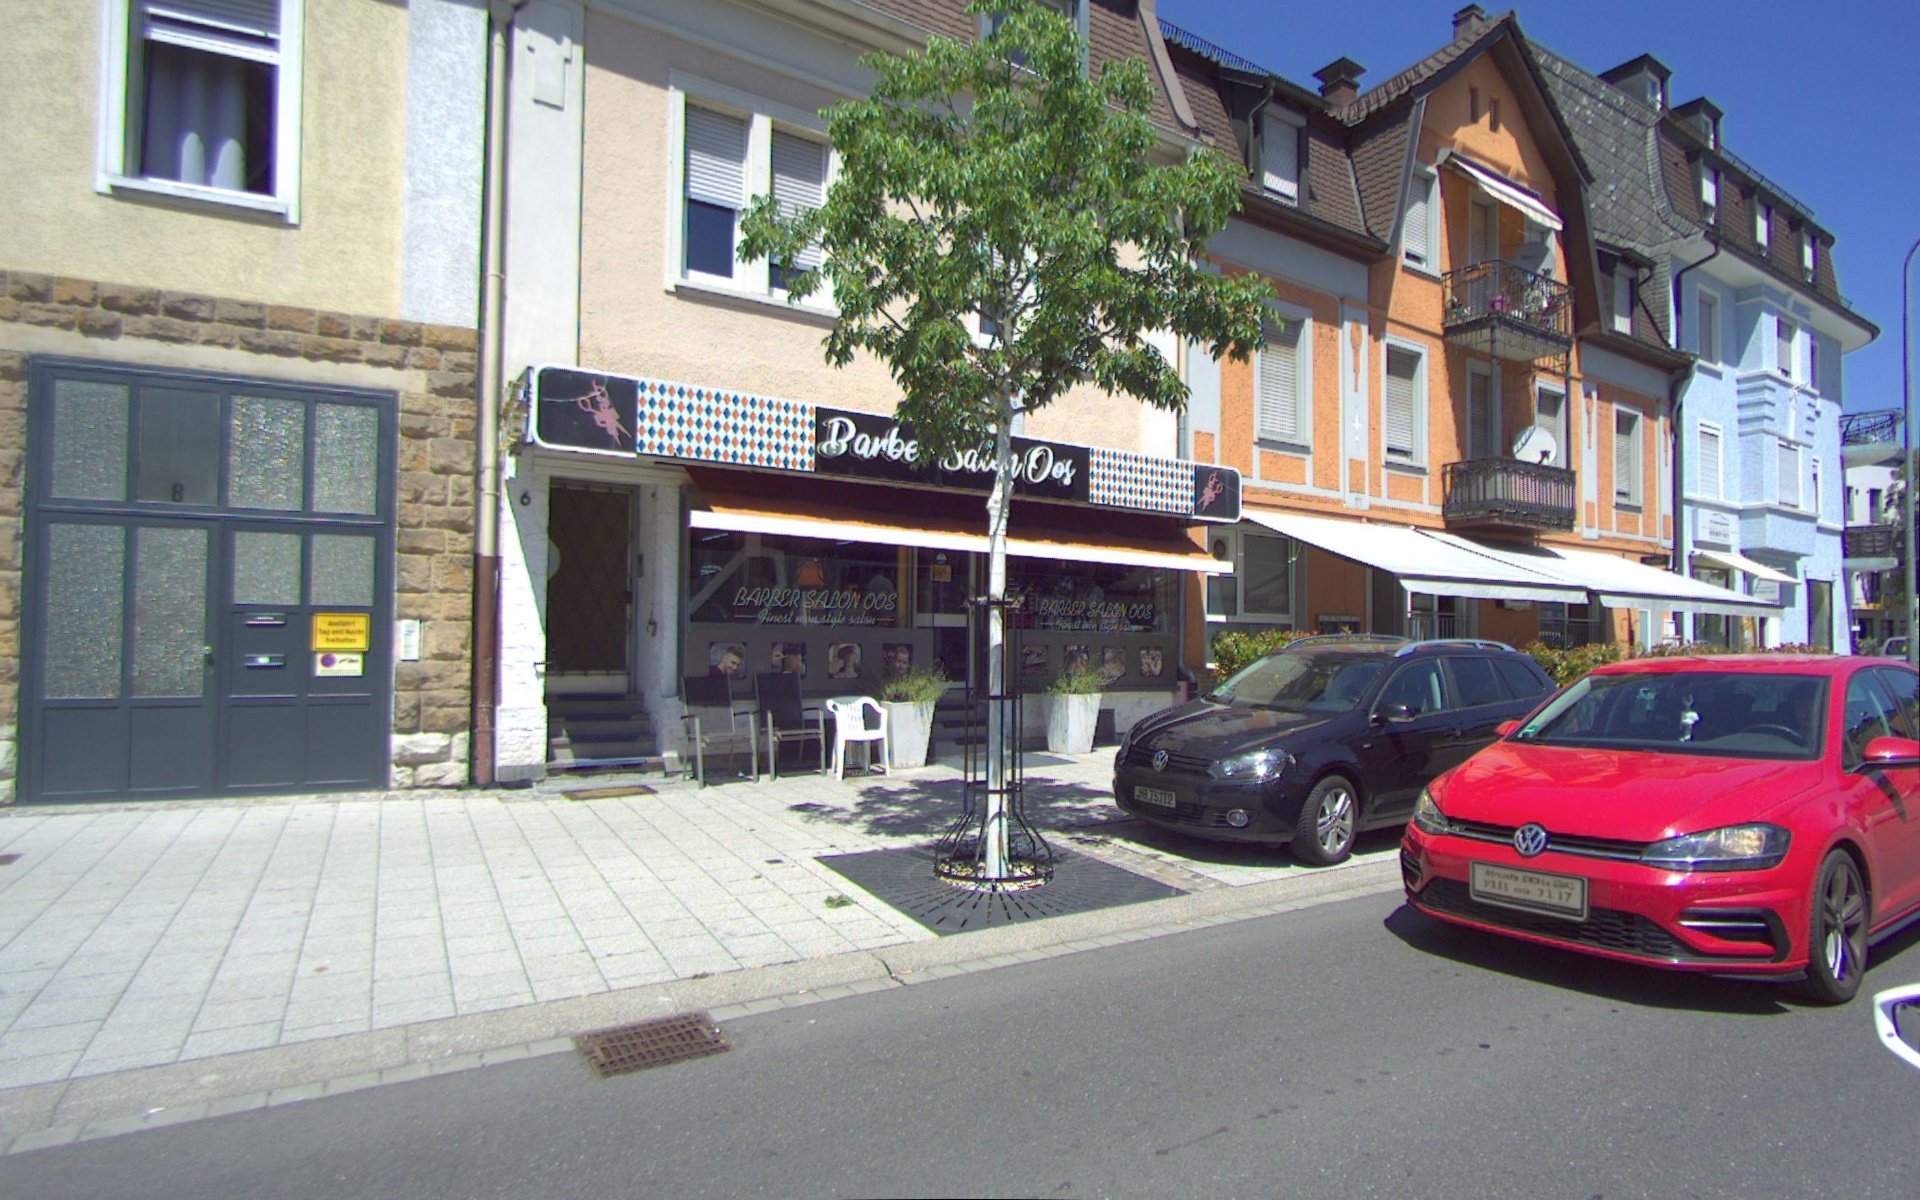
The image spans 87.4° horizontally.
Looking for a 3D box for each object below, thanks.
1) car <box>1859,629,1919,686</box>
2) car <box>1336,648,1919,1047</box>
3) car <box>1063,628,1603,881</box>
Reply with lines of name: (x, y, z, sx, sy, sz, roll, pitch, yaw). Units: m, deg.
car: (33.303, 1.957, 33.849, 1.733, 1.900, 4.219, 0, -1, -14)
car: (4.134, 1.017, 5.596, 3.940, 1.445, 1.904, 2, -5, -35)
car: (3.132, 1.039, 8.195, 4.289, 1.501, 1.905, 2, 0, -32)
